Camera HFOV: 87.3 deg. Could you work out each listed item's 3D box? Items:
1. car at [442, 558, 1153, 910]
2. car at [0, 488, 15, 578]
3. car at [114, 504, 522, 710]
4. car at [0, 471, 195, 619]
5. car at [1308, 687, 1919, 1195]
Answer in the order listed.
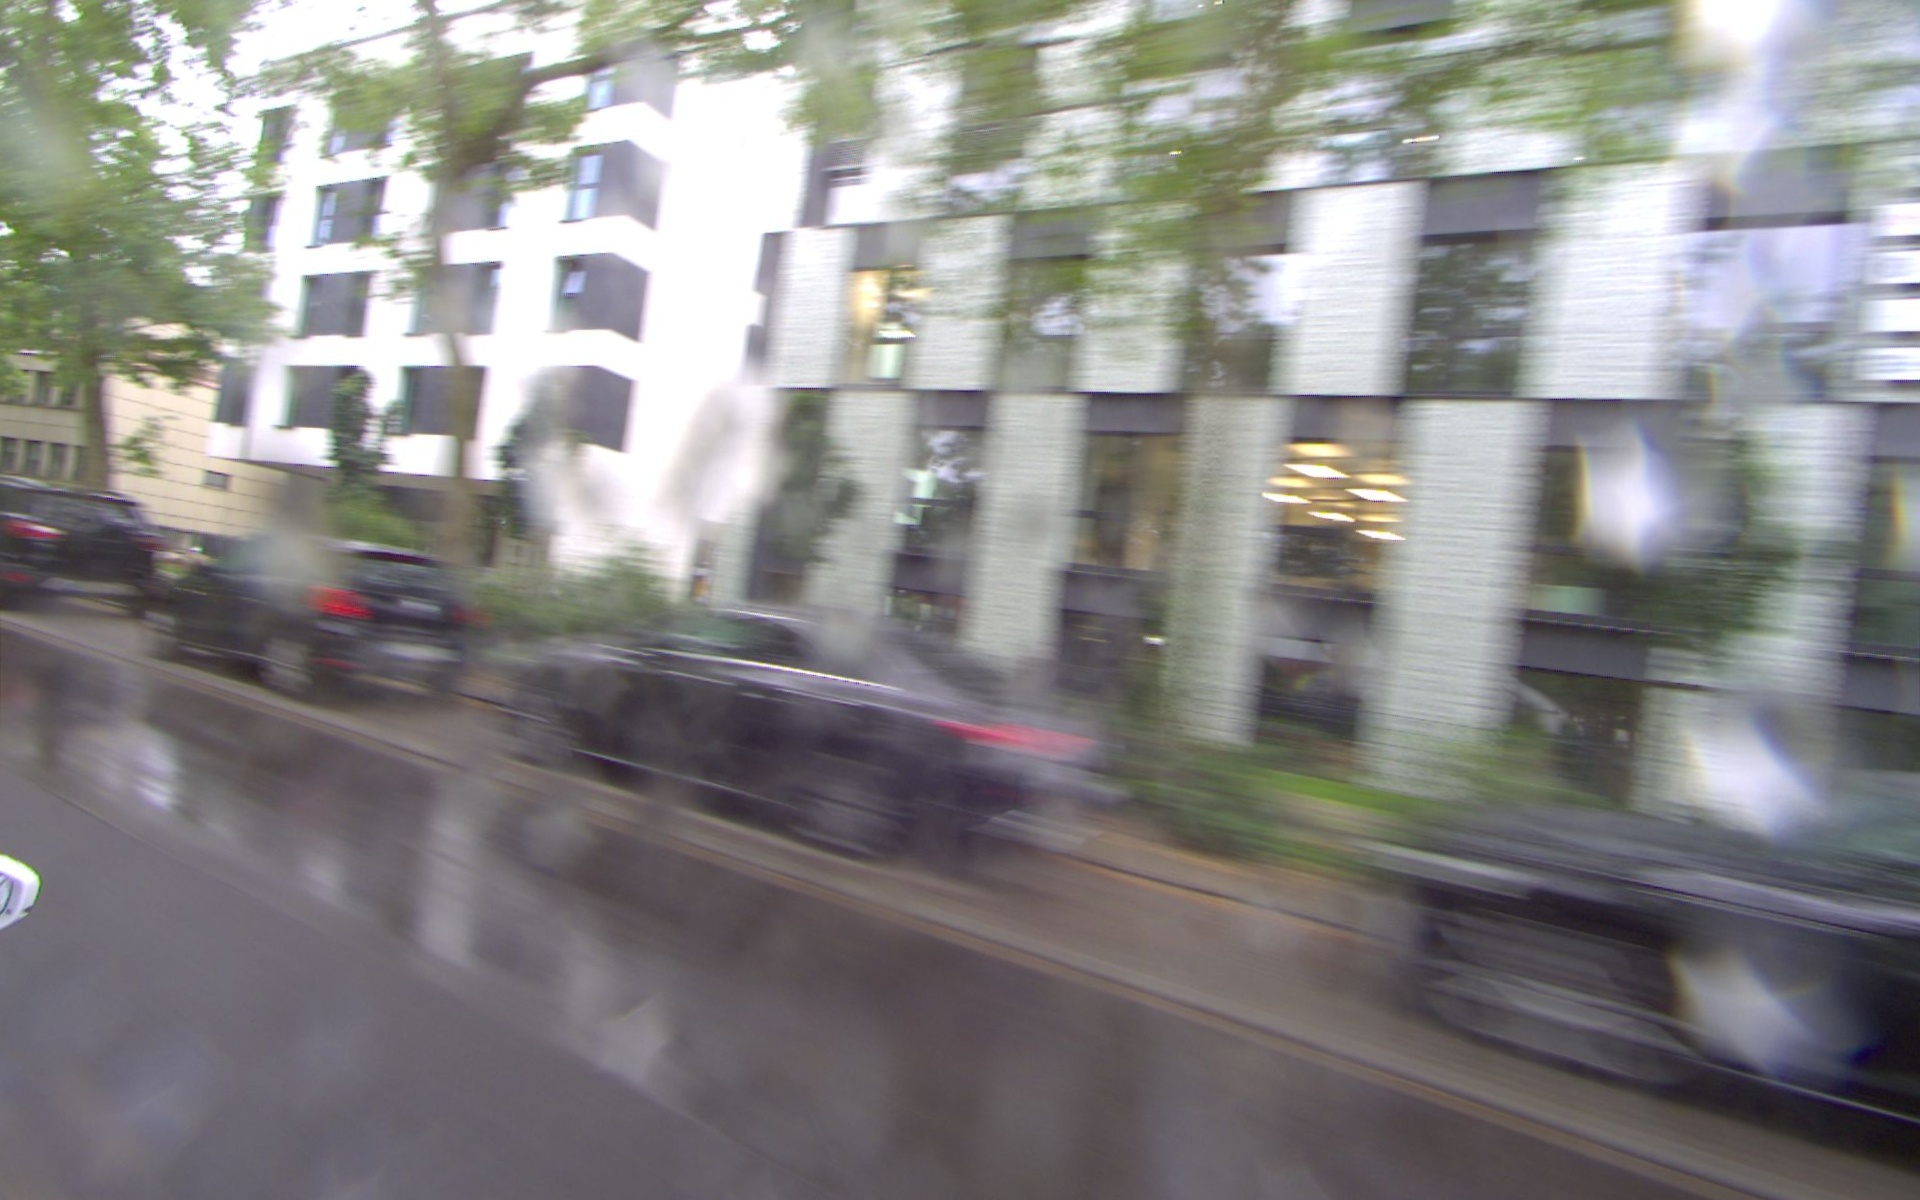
[{"bbox_3d":[-1.358,0.737,7.334,5.017,1.445,1.747,7,-2,30],"label":"car"},{"bbox_3d":[-18.222,-1.421,17.123,4.231,1.486,1.748,7,-1,28],"label":"car"},{"bbox_3d":[-6.511,0.038,10.109,4.014,1.493,1.747,7,-2,31],"label":"car"},{"bbox_3d":[-12.535,-0.848,13.599,4.296,1.584,1.748,7,-1,28],"label":"car"},{"bbox_3d":[4.120,1.419,4.003,4.781,1.446,1.744,7,1,34],"label":"car"}]
